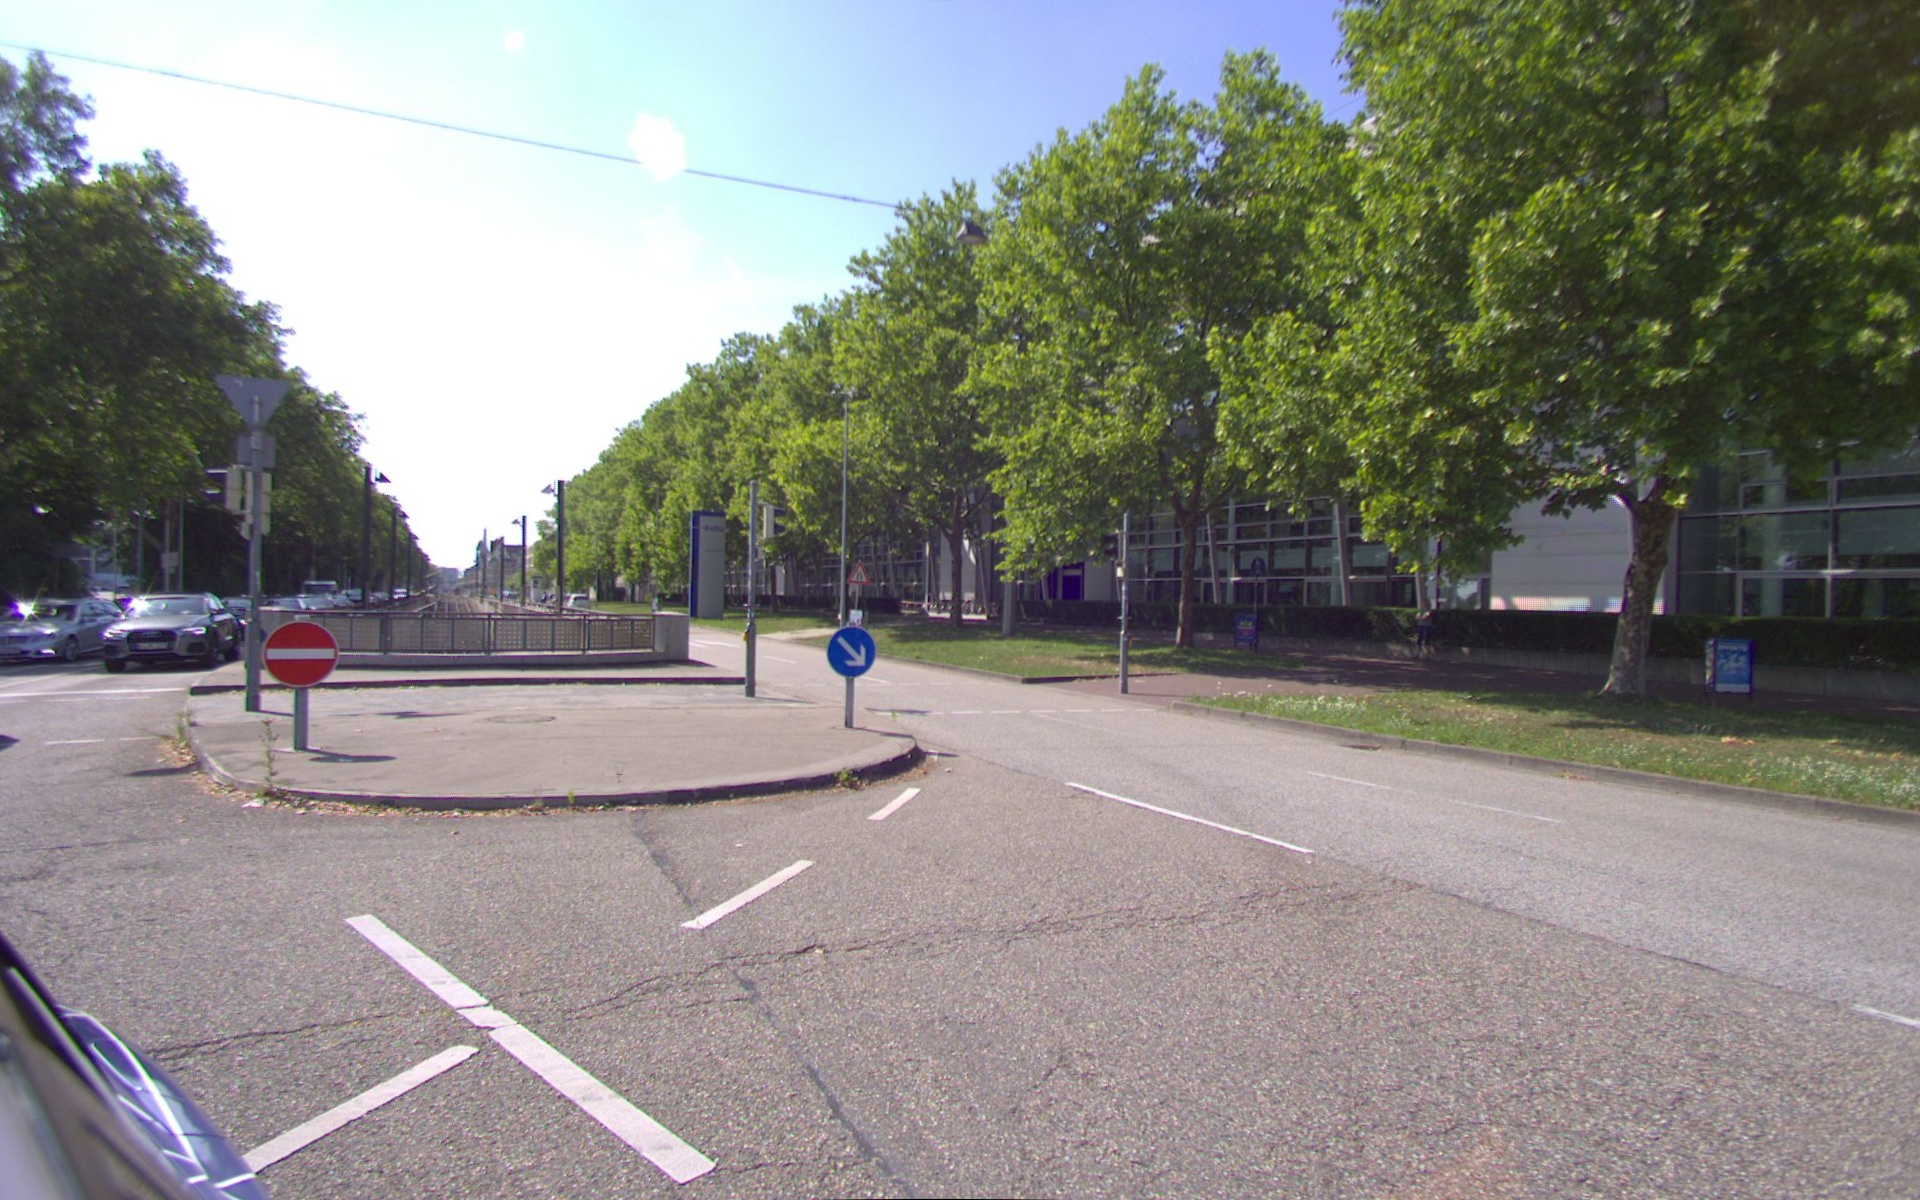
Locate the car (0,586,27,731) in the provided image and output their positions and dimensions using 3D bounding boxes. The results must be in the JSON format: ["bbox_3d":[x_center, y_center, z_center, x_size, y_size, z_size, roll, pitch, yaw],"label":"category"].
[{"bbox_3d":[-10.808,0.659,9.337,1.915,1.620,4.991,1,0,-27],"label":"car"}]

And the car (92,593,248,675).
[{"bbox_3d":[-16.937,0.654,21.948,1.798,1.561,4.575,1,0,-27],"label":"car"}]

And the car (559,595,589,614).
[{"bbox_3d":[-33.394,0.373,87.452,1.871,1.652,4.013,0,0,-28],"label":"car"}]

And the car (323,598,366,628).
[{"bbox_3d":[-33.045,0.659,54.387,1.752,1.507,4.013,1,0,-28],"label":"car"}]

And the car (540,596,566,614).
[{"bbox_3d":[-40.377,0.477,100.430,1.871,1.652,4.800,0,0,-28],"label":"car"}]

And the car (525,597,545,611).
[{"bbox_3d":[-52.204,0.461,124.254,1.871,1.652,4.013,0,0,-28],"label":"car"}]

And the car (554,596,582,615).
[{"bbox_3d":[-35.698,0.486,92.139,1.871,1.652,4.013,0,0,-28],"label":"car"}]

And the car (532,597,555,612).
[{"bbox_3d":[-46.134,0.459,112.032,1.871,1.652,4.013,0,0,-28],"label":"car"}]

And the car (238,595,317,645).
[{"bbox_3d":[-23.634,0.649,35.166,1.788,1.625,4.013,0,0,-27],"label":"car"}]

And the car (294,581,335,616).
[{"bbox_3d":[-46.679,-0.122,73.272,2.066,2.369,5.654,1,0,-28],"label":"car"}]

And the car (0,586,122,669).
[{"bbox_3d":[-21.575,0.580,23.469,1.965,1.737,5.182,0,0,-24],"label":"car"}]

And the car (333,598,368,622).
[{"bbox_3d":[-40.004,0.652,66.478,1.752,1.507,4.013,1,0,-28],"label":"car"}]

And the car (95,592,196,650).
[{"bbox_3d":[-27.083,0.647,33.783,1.867,1.785,4.186,1,0,-28],"label":"car"}]
